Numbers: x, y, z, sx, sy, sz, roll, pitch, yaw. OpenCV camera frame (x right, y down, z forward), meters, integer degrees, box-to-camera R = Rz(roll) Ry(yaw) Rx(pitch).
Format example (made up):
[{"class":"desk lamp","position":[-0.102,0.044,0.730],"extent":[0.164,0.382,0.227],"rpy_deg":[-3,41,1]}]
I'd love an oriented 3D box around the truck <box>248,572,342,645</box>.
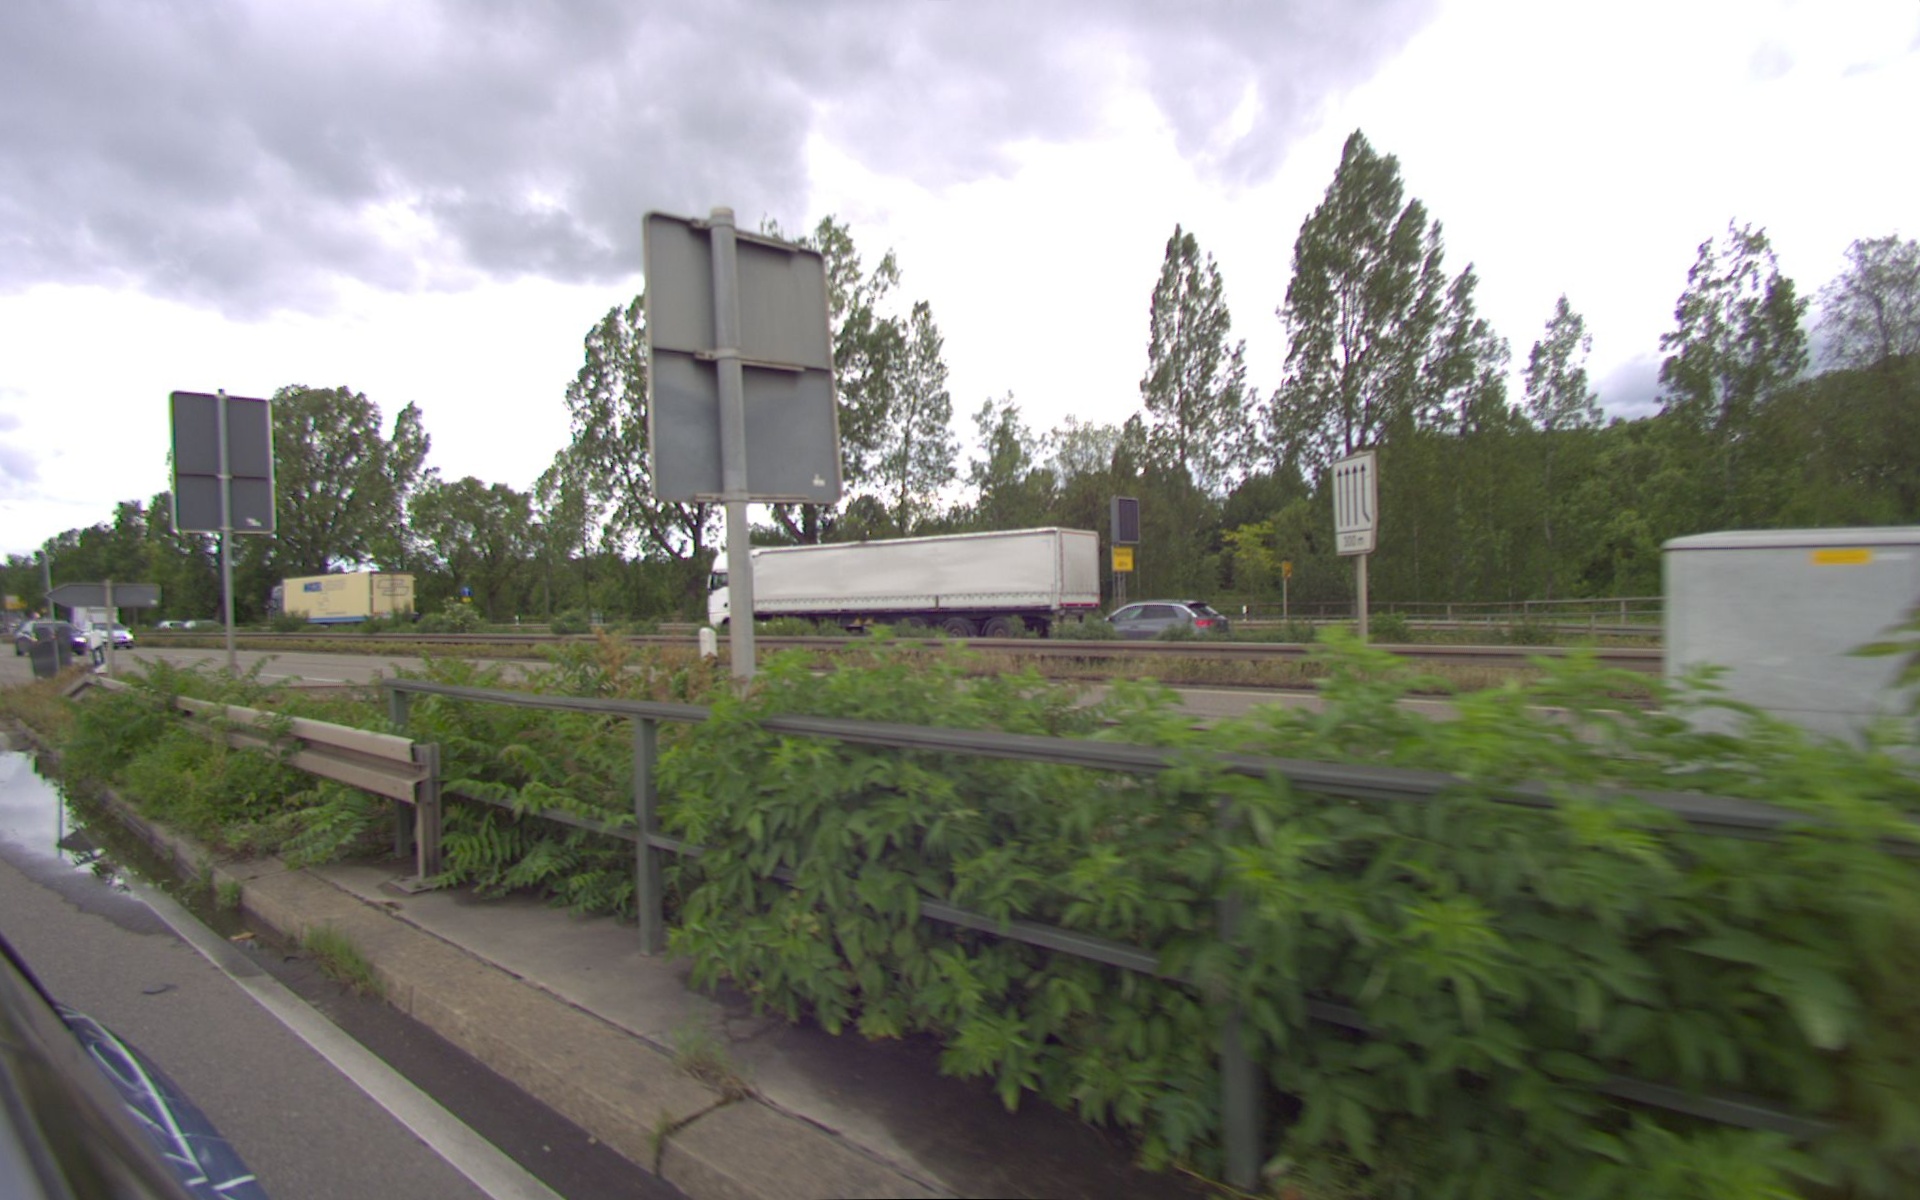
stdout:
[{"class":"truck","position":[-45.434,0.578,69.095],"extent":[6.201,4.708,3.432],"rpy_deg":[-2,0,37]}]

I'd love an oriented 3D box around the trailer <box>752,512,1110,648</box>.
[{"class":"trailer","position":[-1.522,-0.506,34.844],"extent":[13.490,3.978,2.765],"rpy_deg":[-1,1,37]}]

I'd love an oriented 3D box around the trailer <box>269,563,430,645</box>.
[{"class":"trailer","position":[-38.914,0.376,64.121],"extent":[14.757,4.708,3.432],"rpy_deg":[-2,0,37]}]

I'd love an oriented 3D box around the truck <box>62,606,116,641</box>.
[{"class":"truck","position":[-97.081,2.617,112.807],"extent":[6.322,3.670,2.958],"rpy_deg":[-2,1,35]}]

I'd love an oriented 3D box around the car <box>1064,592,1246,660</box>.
[{"class":"car","position":[4.858,0.623,25.384],"extent":[3.992,1.533,1.976],"rpy_deg":[-1,1,36]}]

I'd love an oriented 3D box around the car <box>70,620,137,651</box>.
[{"class":"car","position":[-44.092,1.844,52.052],"extent":[3.994,1.511,1.837],"rpy_deg":[-2,-1,38]}]

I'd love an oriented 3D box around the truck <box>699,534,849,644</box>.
[{"class":"truck","position":[-7.219,-0.392,39.183],"extent":[5.303,3.966,2.764],"rpy_deg":[-1,1,37]}]

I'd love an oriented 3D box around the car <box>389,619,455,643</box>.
[{"class":"car","position":[-27.196,1.561,51.164],"extent":[3.612,0.938,1.636],"rpy_deg":[1,4,39]}]

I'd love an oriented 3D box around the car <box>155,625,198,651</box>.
[{"class":"car","position":[-58.488,2.834,75.539],"extent":[3.567,1.821,1.762],"rpy_deg":[-2,-1,38]}]

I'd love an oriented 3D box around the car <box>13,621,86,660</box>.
[{"class":"car","position":[-37.739,1.666,41.929],"extent":[4.304,1.512,1.914],"rpy_deg":[-3,-2,43]}]
